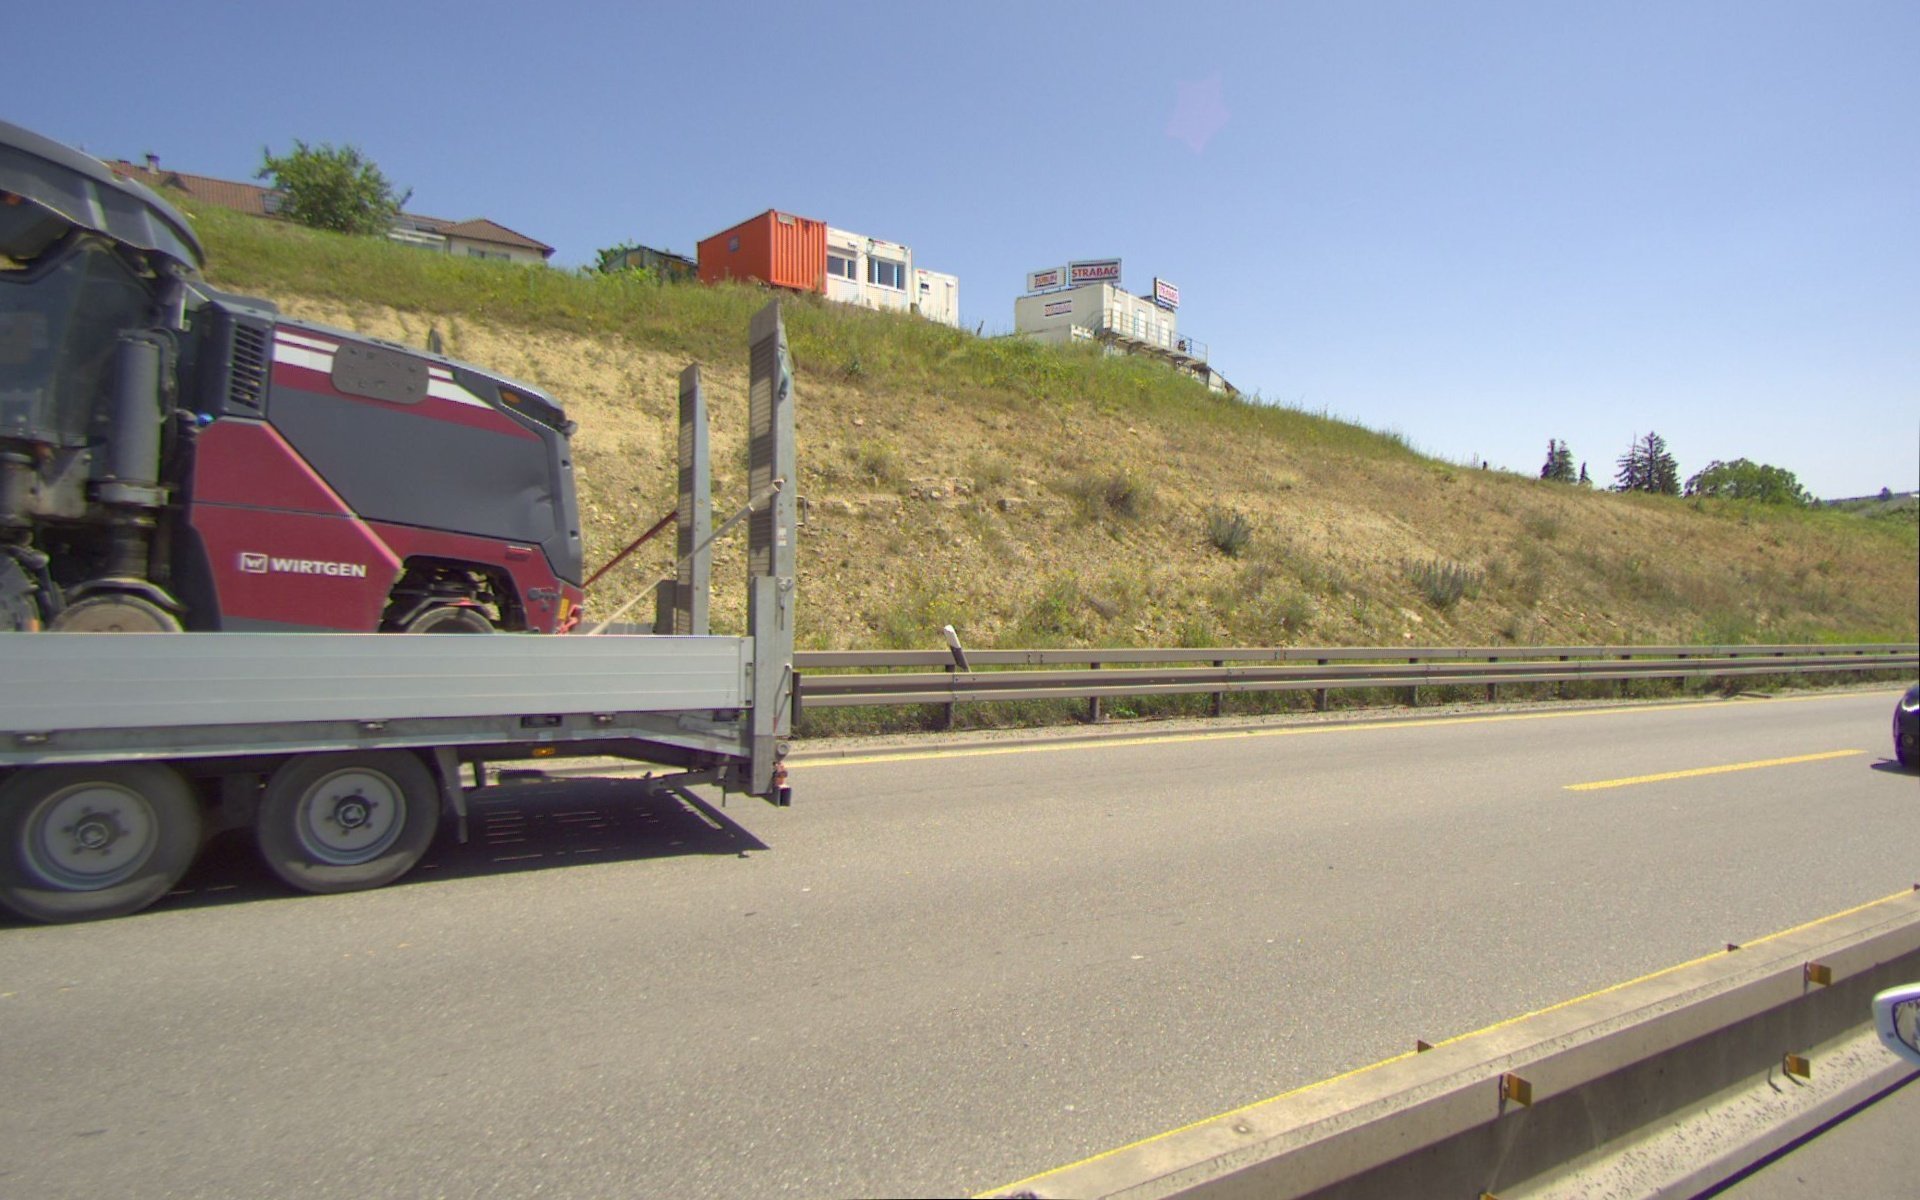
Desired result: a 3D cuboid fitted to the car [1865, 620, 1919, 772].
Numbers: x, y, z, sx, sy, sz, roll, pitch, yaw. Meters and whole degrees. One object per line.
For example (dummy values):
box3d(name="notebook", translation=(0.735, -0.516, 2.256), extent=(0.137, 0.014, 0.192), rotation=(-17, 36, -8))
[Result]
box3d(name="car", translation=(11.052, 0.956, 10.231), extent=(3.805, 1.449, 1.676), rotation=(1, 0, -31))

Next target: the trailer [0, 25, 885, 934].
box3d(name="trailer", translation=(-4.985, -0.500, 4.930), extent=(8.970, 3.685, 2.575), rotation=(1, 0, -30))

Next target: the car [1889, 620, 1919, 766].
box3d(name="car", translation=(11.279, 0.953, 10.268), extent=(3.645, 1.421, 1.680), rotation=(1, 0, -31))
